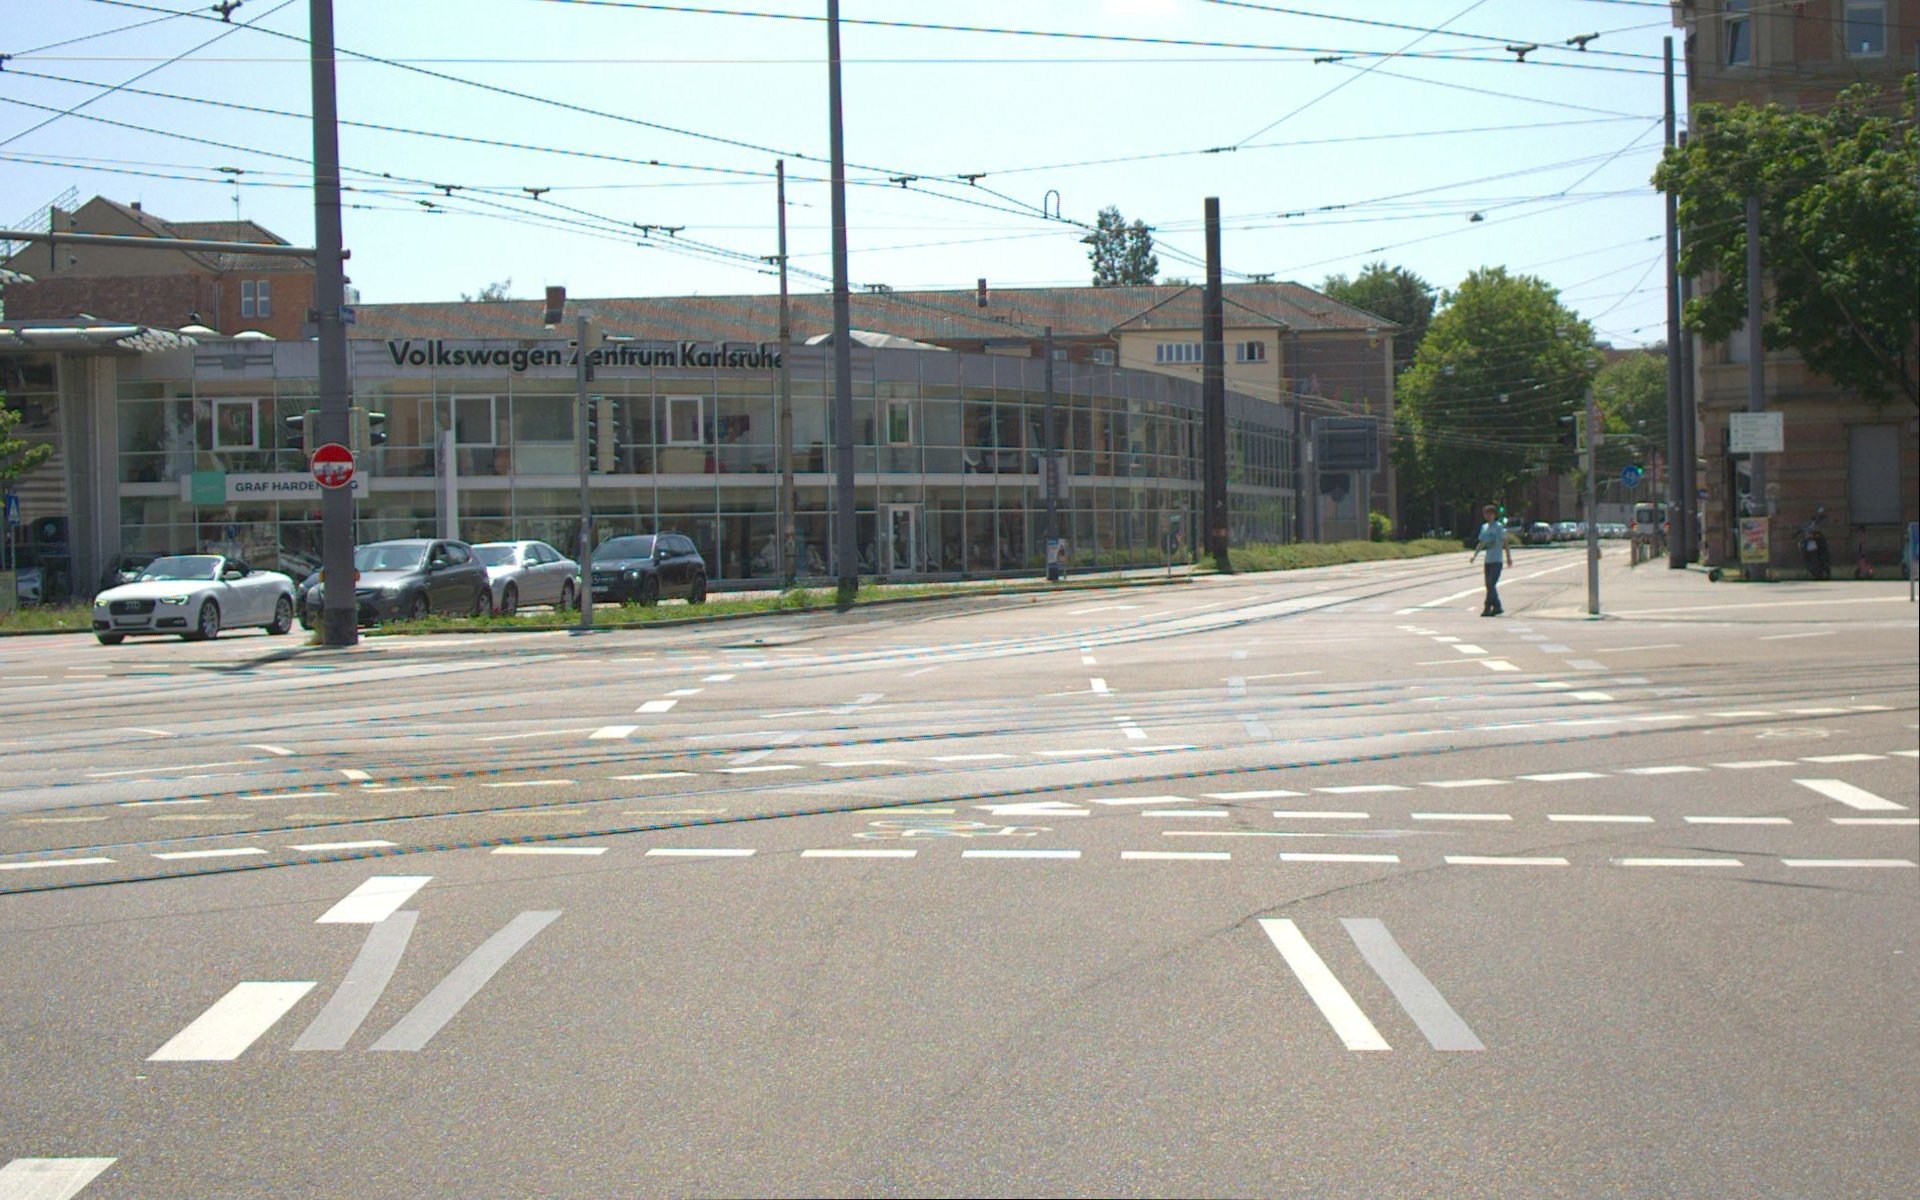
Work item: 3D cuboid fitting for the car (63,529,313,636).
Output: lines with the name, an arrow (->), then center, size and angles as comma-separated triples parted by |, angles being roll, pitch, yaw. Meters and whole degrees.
car -> -12.249, -0.309, 54.894 | 2.077, 1.574, 4.844 | -1, 1, 11

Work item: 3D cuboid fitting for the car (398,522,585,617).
car -> -9.091, -0.618, 67.059 | 1.995, 1.733, 4.540 | -1, 1, 15

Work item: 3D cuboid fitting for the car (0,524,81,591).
car -> -24.594, -1.112, 90.570 | 1.920, 1.701, 4.000 | 1, 0, -2

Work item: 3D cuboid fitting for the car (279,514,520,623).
car -> -8.943, -0.536, 55.286 | 1.995, 1.632, 4.843 | -1, 1, 15

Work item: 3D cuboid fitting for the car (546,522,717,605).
car -> -7.021, -0.806, 73.981 | 2.080, 1.677, 4.843 | -1, 1, 15

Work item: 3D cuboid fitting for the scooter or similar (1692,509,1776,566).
scooter or similar -> 16.535, -1.342, 73.432 | 1.786, 1.177, 0.599 | -2, 1, -28

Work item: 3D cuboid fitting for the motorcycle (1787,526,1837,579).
motorcycle -> 17.512, -0.986, 70.702 | 0.580, 1.071, 1.946 | -1, 1, 2

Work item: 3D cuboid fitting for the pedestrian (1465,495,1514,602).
pedestrian -> 8.500, -0.821, 55.224 | 0.461, 1.702, 0.640 | -2, 1, -29

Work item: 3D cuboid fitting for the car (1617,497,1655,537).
car -> 39.080, -4.788, 198.759 | 1.995, 2.173, 4.367 | 1, 0, 13

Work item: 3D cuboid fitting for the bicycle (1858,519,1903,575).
bicycle -> 18.890, -1.099, 70.542 | 0.551, 1.116, 1.820 | -1, 1, 4
